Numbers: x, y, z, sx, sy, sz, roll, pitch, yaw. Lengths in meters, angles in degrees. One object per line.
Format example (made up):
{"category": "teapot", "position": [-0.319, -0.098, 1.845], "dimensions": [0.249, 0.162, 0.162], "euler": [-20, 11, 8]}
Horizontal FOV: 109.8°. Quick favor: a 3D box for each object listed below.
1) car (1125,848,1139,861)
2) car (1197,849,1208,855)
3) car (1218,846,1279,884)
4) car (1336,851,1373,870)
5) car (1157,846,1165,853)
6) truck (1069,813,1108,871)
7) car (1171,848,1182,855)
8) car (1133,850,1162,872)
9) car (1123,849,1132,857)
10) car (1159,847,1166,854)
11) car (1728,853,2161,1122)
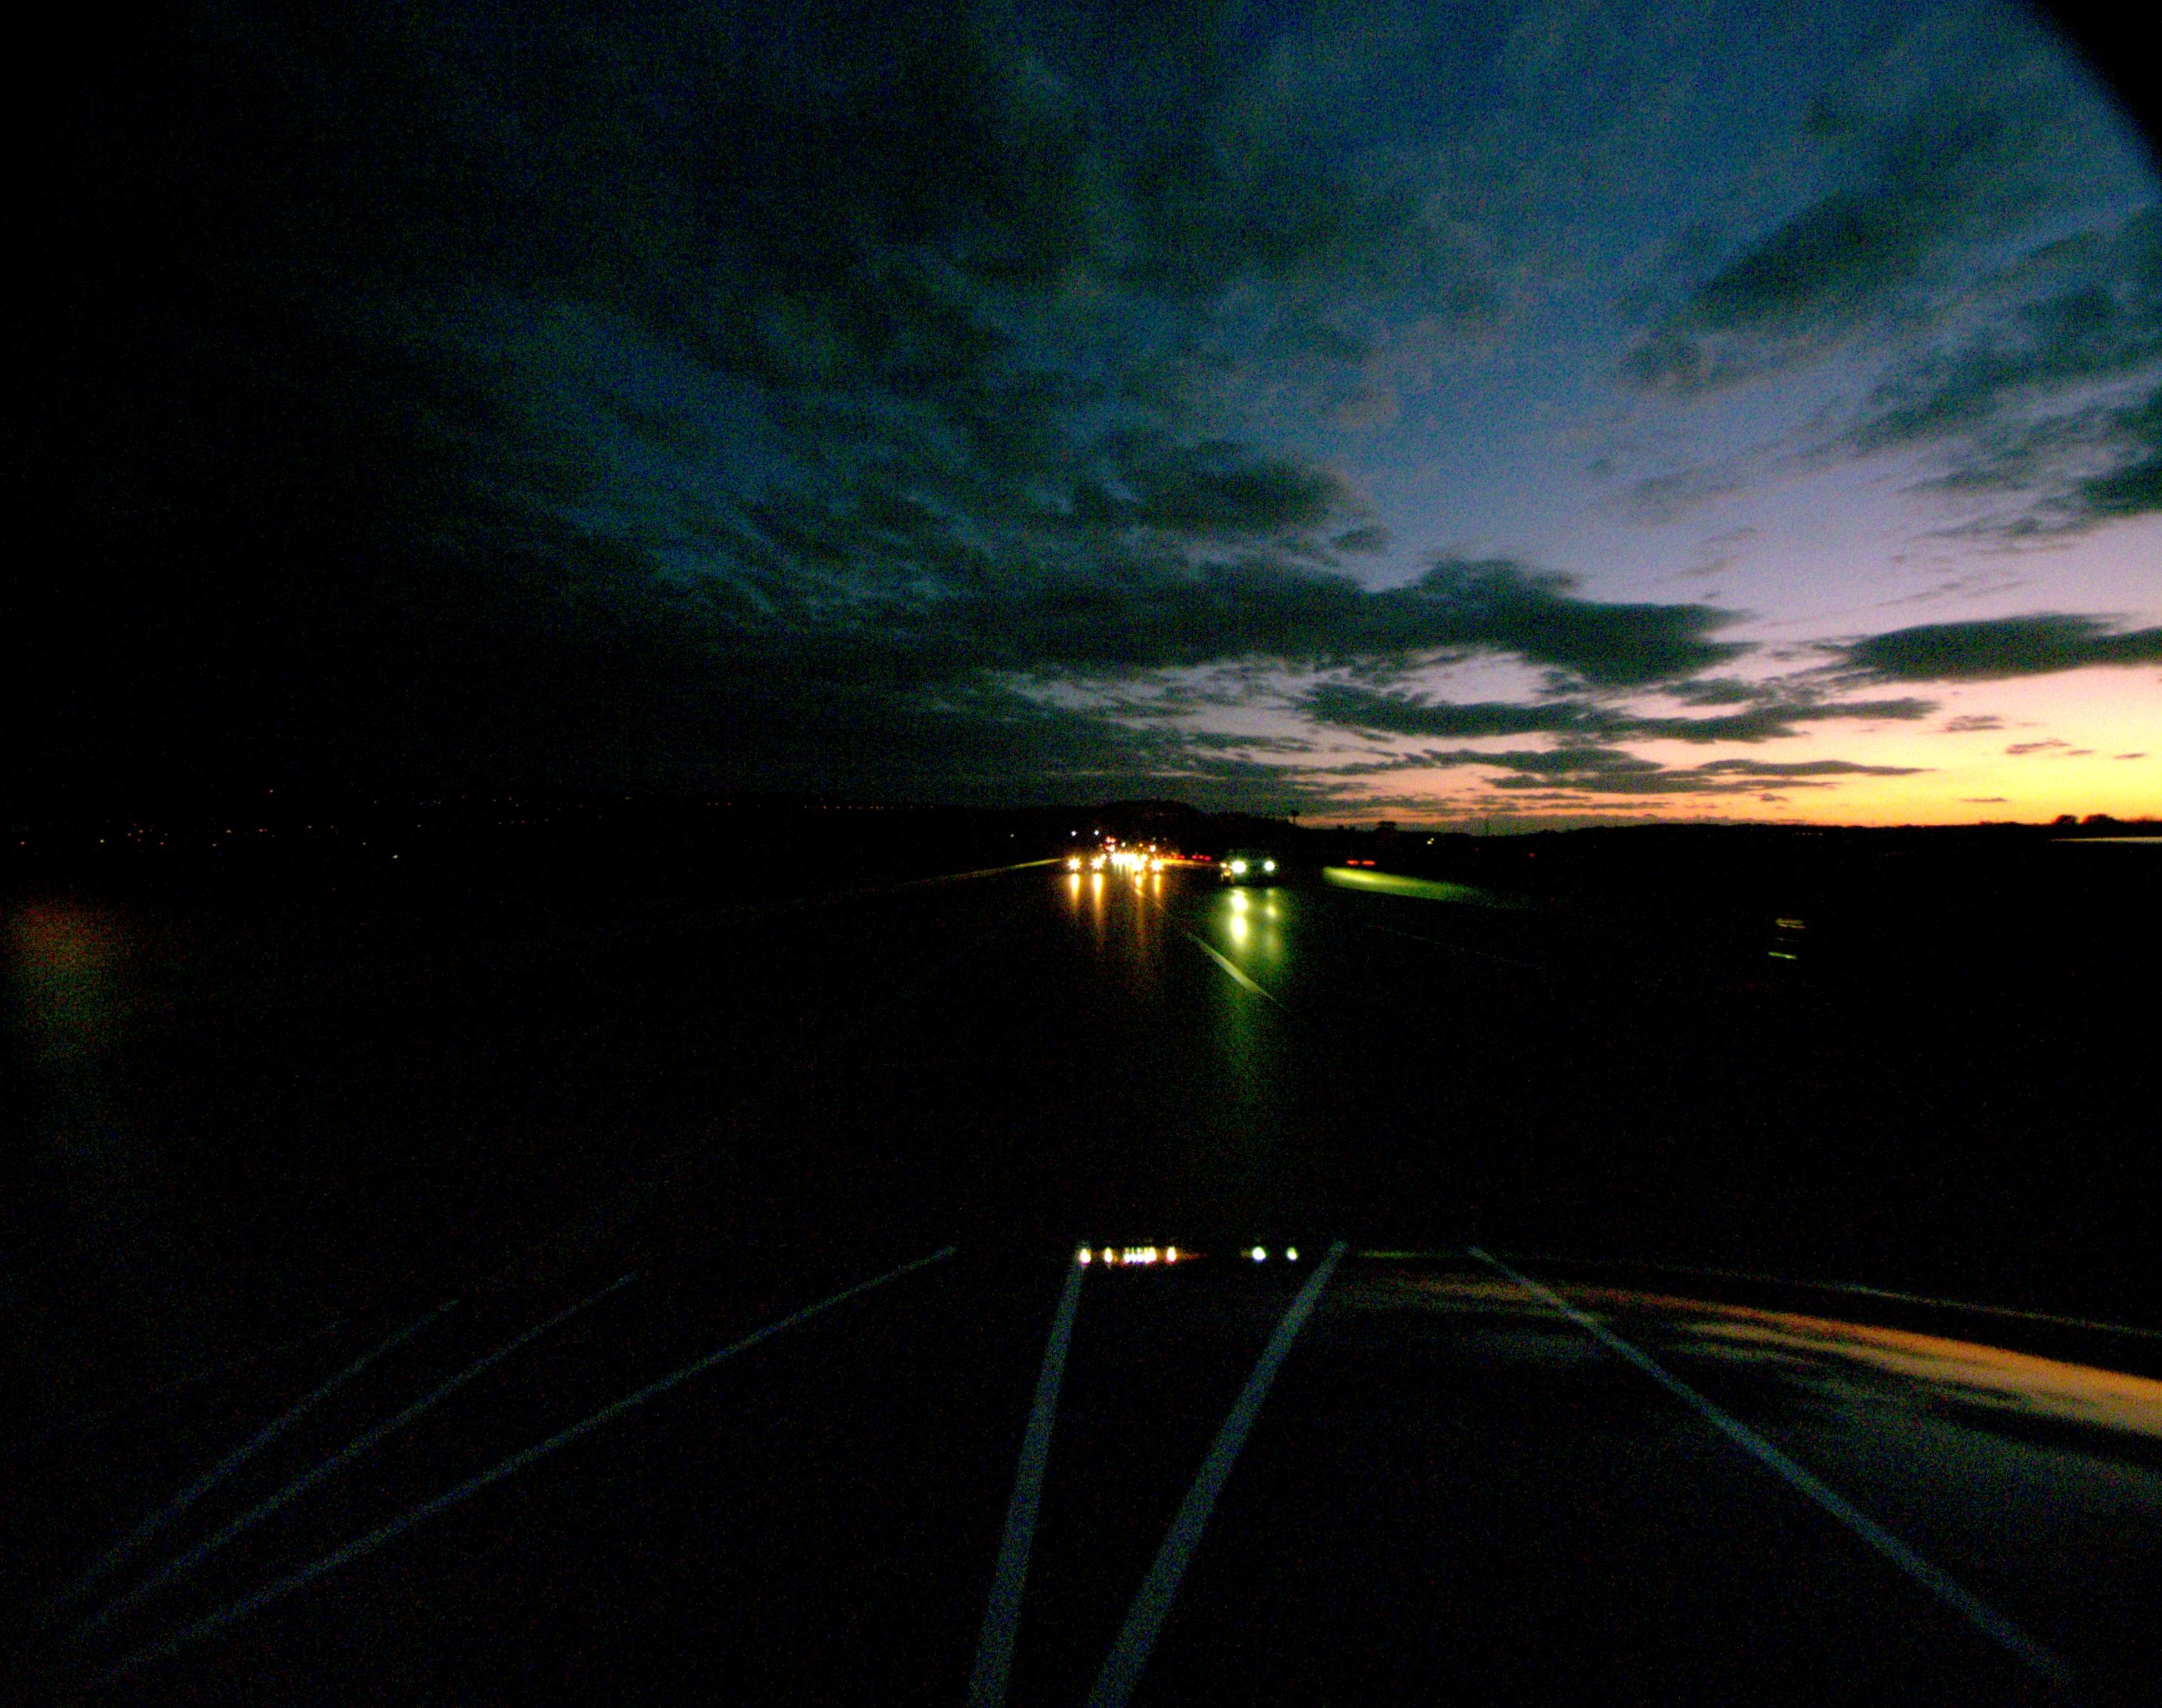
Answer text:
{"category": "car", "position": [7.549, 0.120, 113.171], "dimensions": [1.862, 1.826, 3.999], "euler": [-2, 1, 1]}
{"category": "car", "position": [23.913, -0.403, 149.738], "dimensions": [1.670, 1.174, 3.999], "euler": [-2, 1, 1]}
{"category": "car", "position": [7.852, 0.464, 36.116], "dimensions": [1.819, 1.638, 4.856], "euler": [-2, 1, 1]}
{"category": "car", "position": [23.944, 0.557, 66.620], "dimensions": [1.662, 1.526, 4.520], "euler": [-2, 1, 1]}
{"category": "car", "position": [18.828, -1.032, 179.057], "dimensions": [1.649, 1.445, 3.999], "euler": [-2, 1, 1]}
{"category": "truck", "position": [0.724, -0.931, 67.840], "dimensions": [3.012, 4.570, 12.578], "euler": [-2, 0, 1]}
{"category": "car", "position": [18.732, -0.521, 149.884], "dimensions": [1.670, 1.211, 3.999], "euler": [-2, 1, 1]}
{"category": "car", "position": [4.956, 0.487, 56.792], "dimensions": [1.802, 1.531, 4.159], "euler": [-2, 1, 1]}
{"category": "car", "position": [10.559, -0.292, 172.978], "dimensions": [1.862, 1.826, 3.999], "euler": [-2, 1, 1]}
{"category": "car", "position": [28.026, -1.136, 261.448], "dimensions": [1.998, 2.374, 5.835], "euler": [-2, 1, 1]}
{"category": "car", "position": [7.037, 0.776, 4.514], "dimensions": [1.819, 1.429, 5.394], "euler": [-2, 1, 1]}
